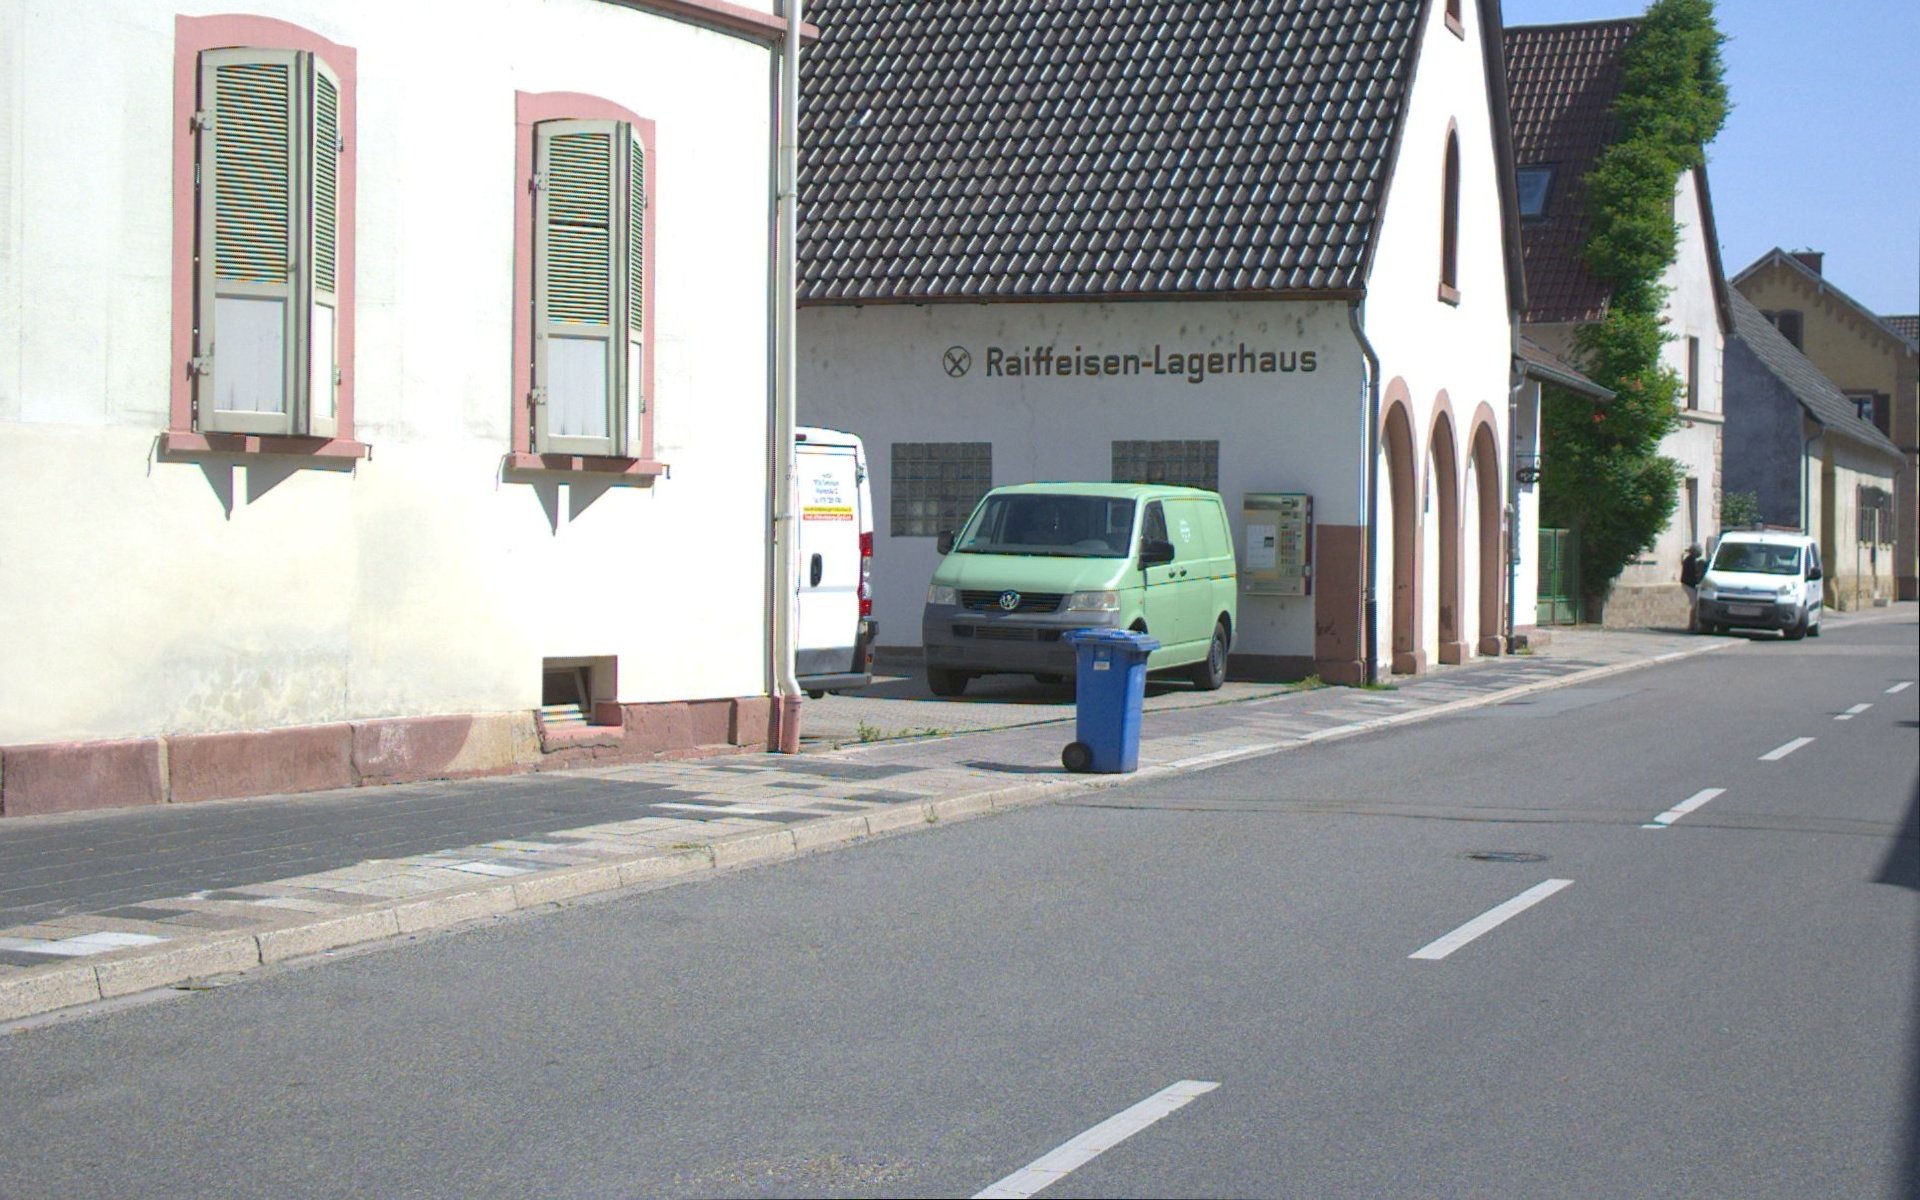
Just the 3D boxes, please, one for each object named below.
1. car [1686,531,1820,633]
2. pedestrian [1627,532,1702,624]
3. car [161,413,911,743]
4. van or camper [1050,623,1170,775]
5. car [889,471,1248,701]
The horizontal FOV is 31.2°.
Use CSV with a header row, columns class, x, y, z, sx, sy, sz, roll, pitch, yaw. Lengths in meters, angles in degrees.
class,x,y,z,sx,sy,sz,roll,pitch,yaw
car,13.567,-0.335,58.685,1.857,1.641,4.426,1,1,18
pedestrian,12.206,-0.386,59.520,1.137,1.546,1.016,2,1,17
car,-3.159,-0.226,25.311,5.184,2.189,2.119,2,2,29
van or camper,0.984,0.638,22.490,0.590,0.948,0.599,2,1,24
car,1.105,-0.171,31.938,1.995,1.958,4.665,1,1,20
